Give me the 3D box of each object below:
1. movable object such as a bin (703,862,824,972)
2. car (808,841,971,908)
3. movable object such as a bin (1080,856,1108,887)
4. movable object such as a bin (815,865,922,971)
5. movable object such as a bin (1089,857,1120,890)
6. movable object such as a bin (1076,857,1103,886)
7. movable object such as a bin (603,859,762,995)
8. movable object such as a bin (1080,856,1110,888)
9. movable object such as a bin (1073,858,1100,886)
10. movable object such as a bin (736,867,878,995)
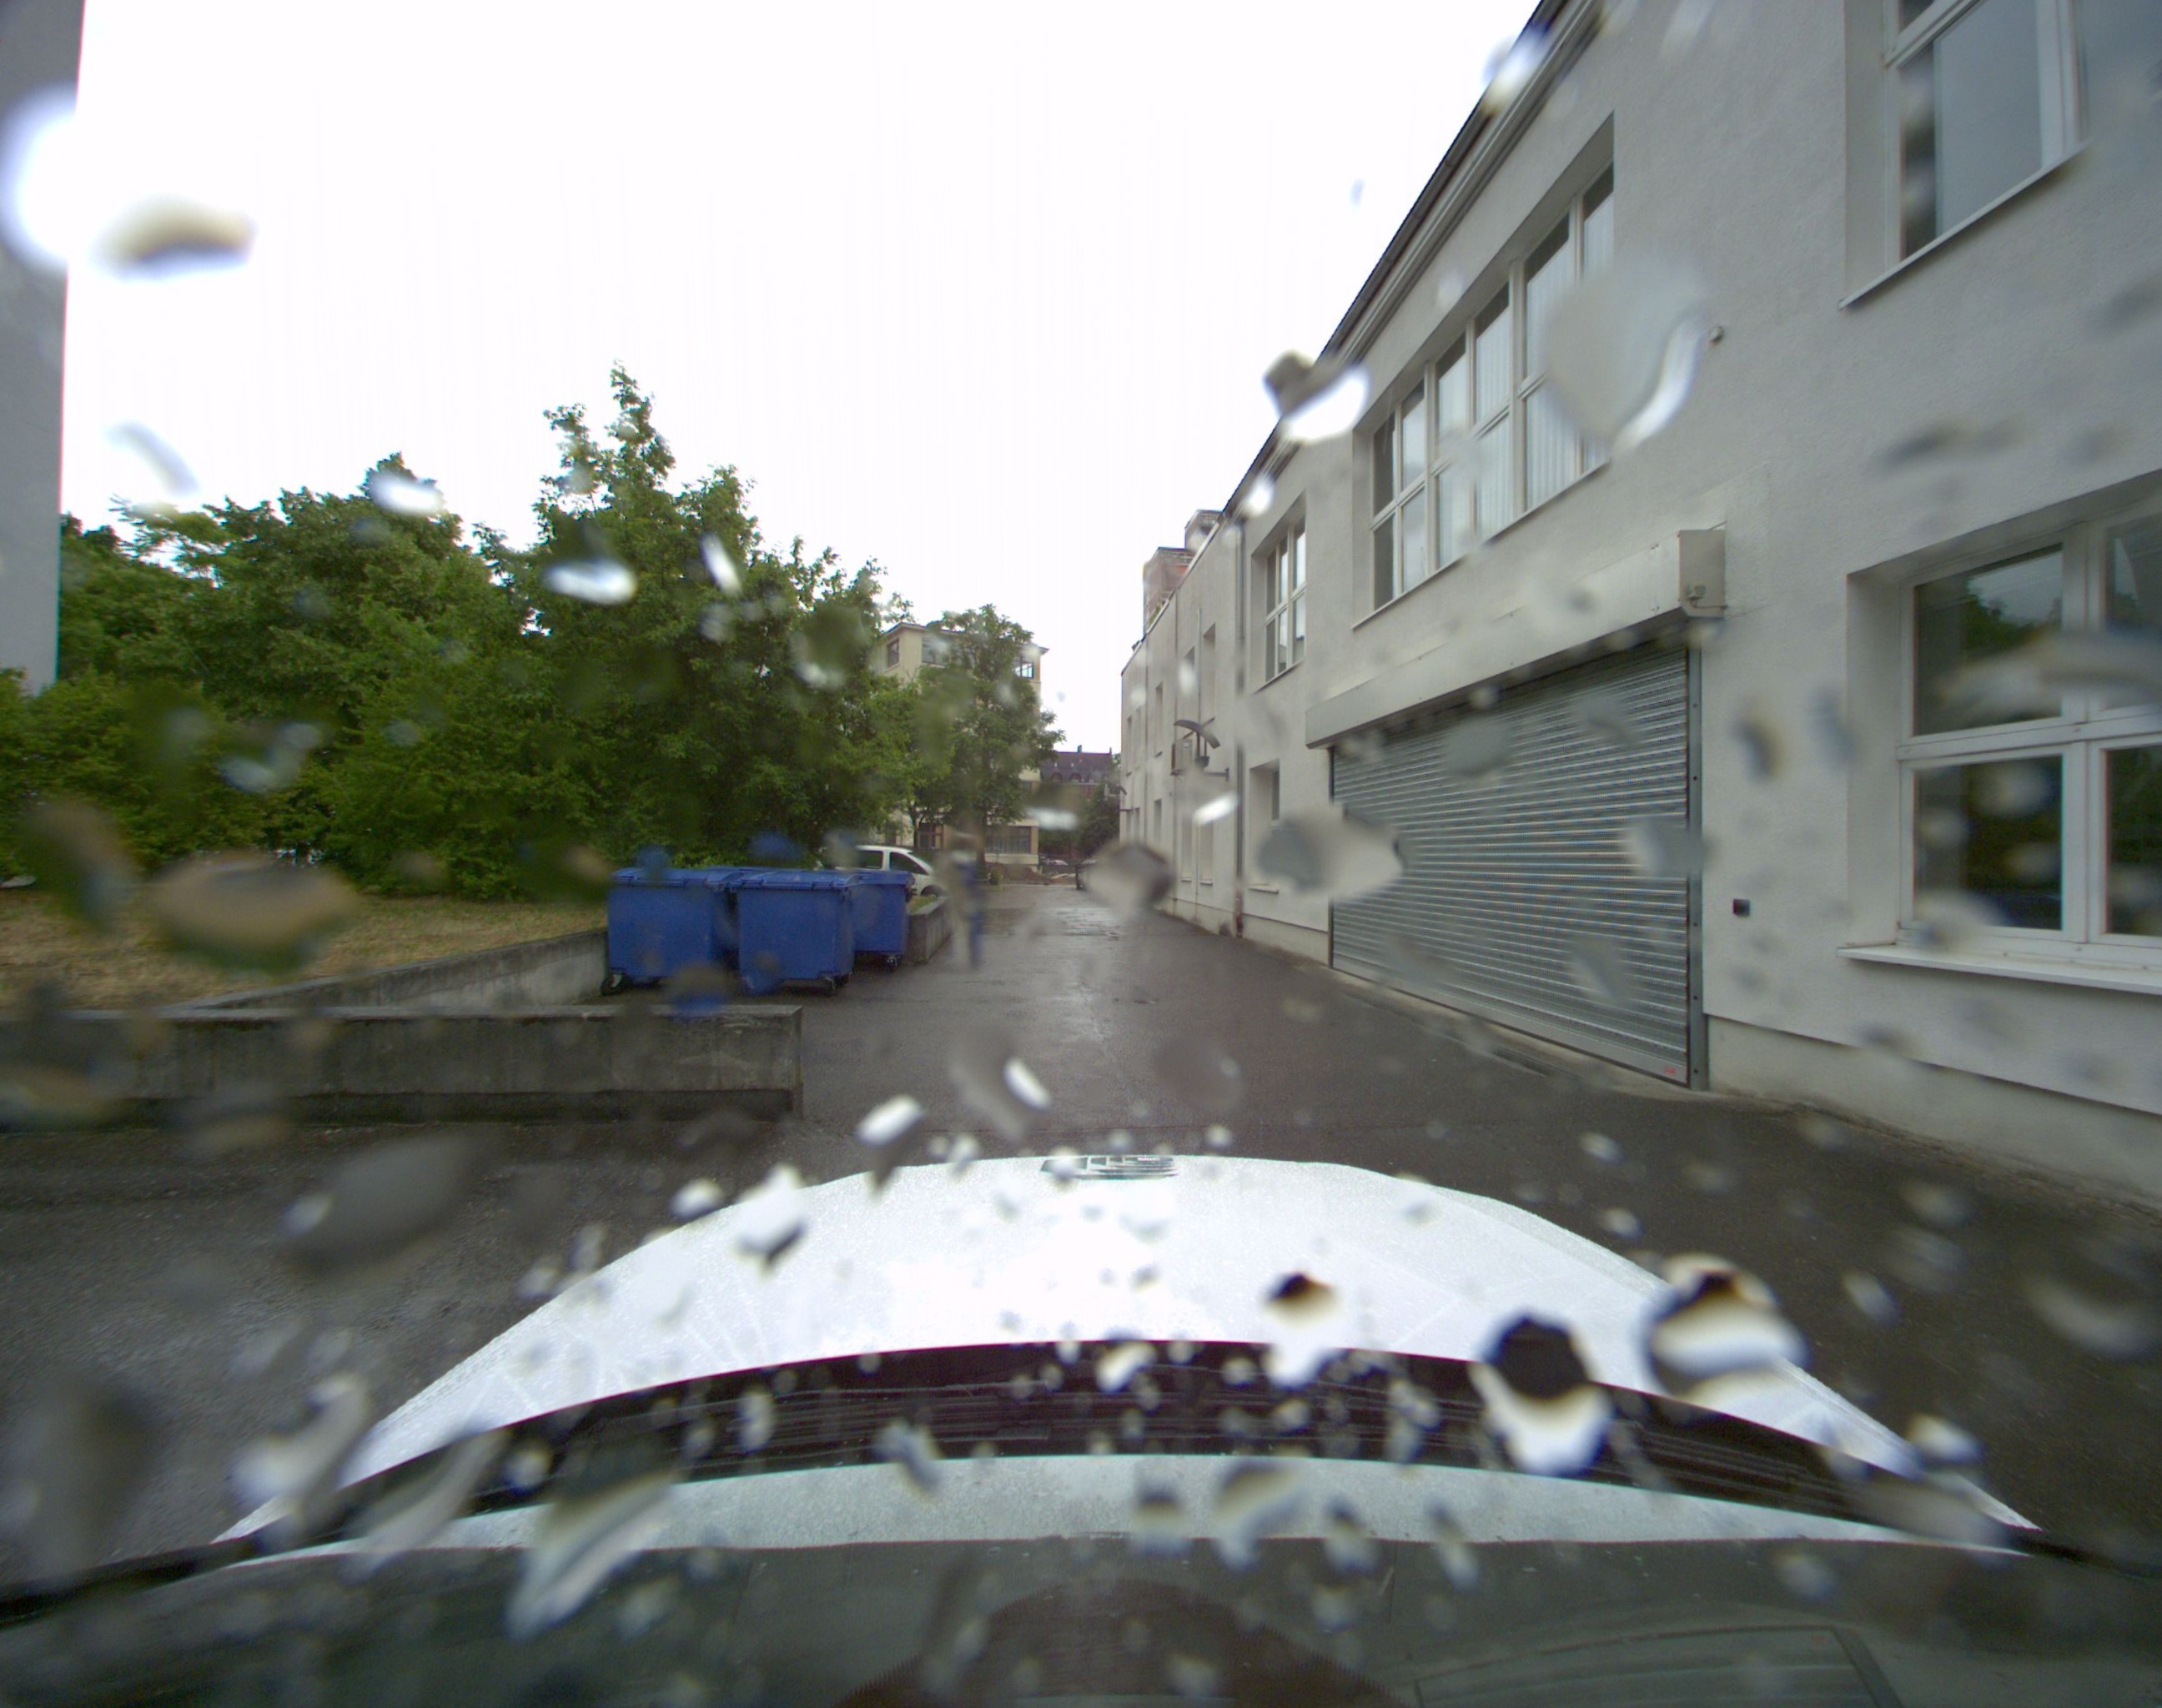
[{"bbox_3d":[-4.115,0.796,10.654,1.219,1.337,1.005,1,1,-5],"label":"movable object such as a bin"},{"bbox_3d":[-5.979,0.602,25.974,4.772,2.013,1.997,0,0,-5],"label":"car"},{"bbox_3d":[0.618,0.875,39.392,1.213,1.468,1.232,1,-3,-7],"label":"movable object such as a bin"},{"bbox_3d":[-2.807,0.825,10.898,1.219,1.337,1.005,1,0,-5],"label":"movable object such as a bin"},{"bbox_3d":[1.036,0.875,36.097,1.213,1.437,1.232,1,-3,-7],"label":"movable object such as a bin"},{"bbox_3d":[0.431,0.897,40.753,1.213,1.437,1.256,1,-3,-7],"label":"movable object such as a bin"},{"bbox_3d":[-4.337,0.766,8.984,1.201,1.337,1.115,2,1,-5],"label":"movable object such as a bin"},{"bbox_3d":[0.630,0.846,37.753,1.213,1.437,1.291,1,-3,-7],"label":"movable object such as a bin"},{"bbox_3d":[0.283,0.954,42.120,1.213,1.437,1.256,1,-3,-7],"label":"movable object such as a bin"},{"bbox_3d":[-3.024,0.824,9.140,1.199,1.337,1.116,0,-1,-1],"label":"movable object such as a bin"}]
